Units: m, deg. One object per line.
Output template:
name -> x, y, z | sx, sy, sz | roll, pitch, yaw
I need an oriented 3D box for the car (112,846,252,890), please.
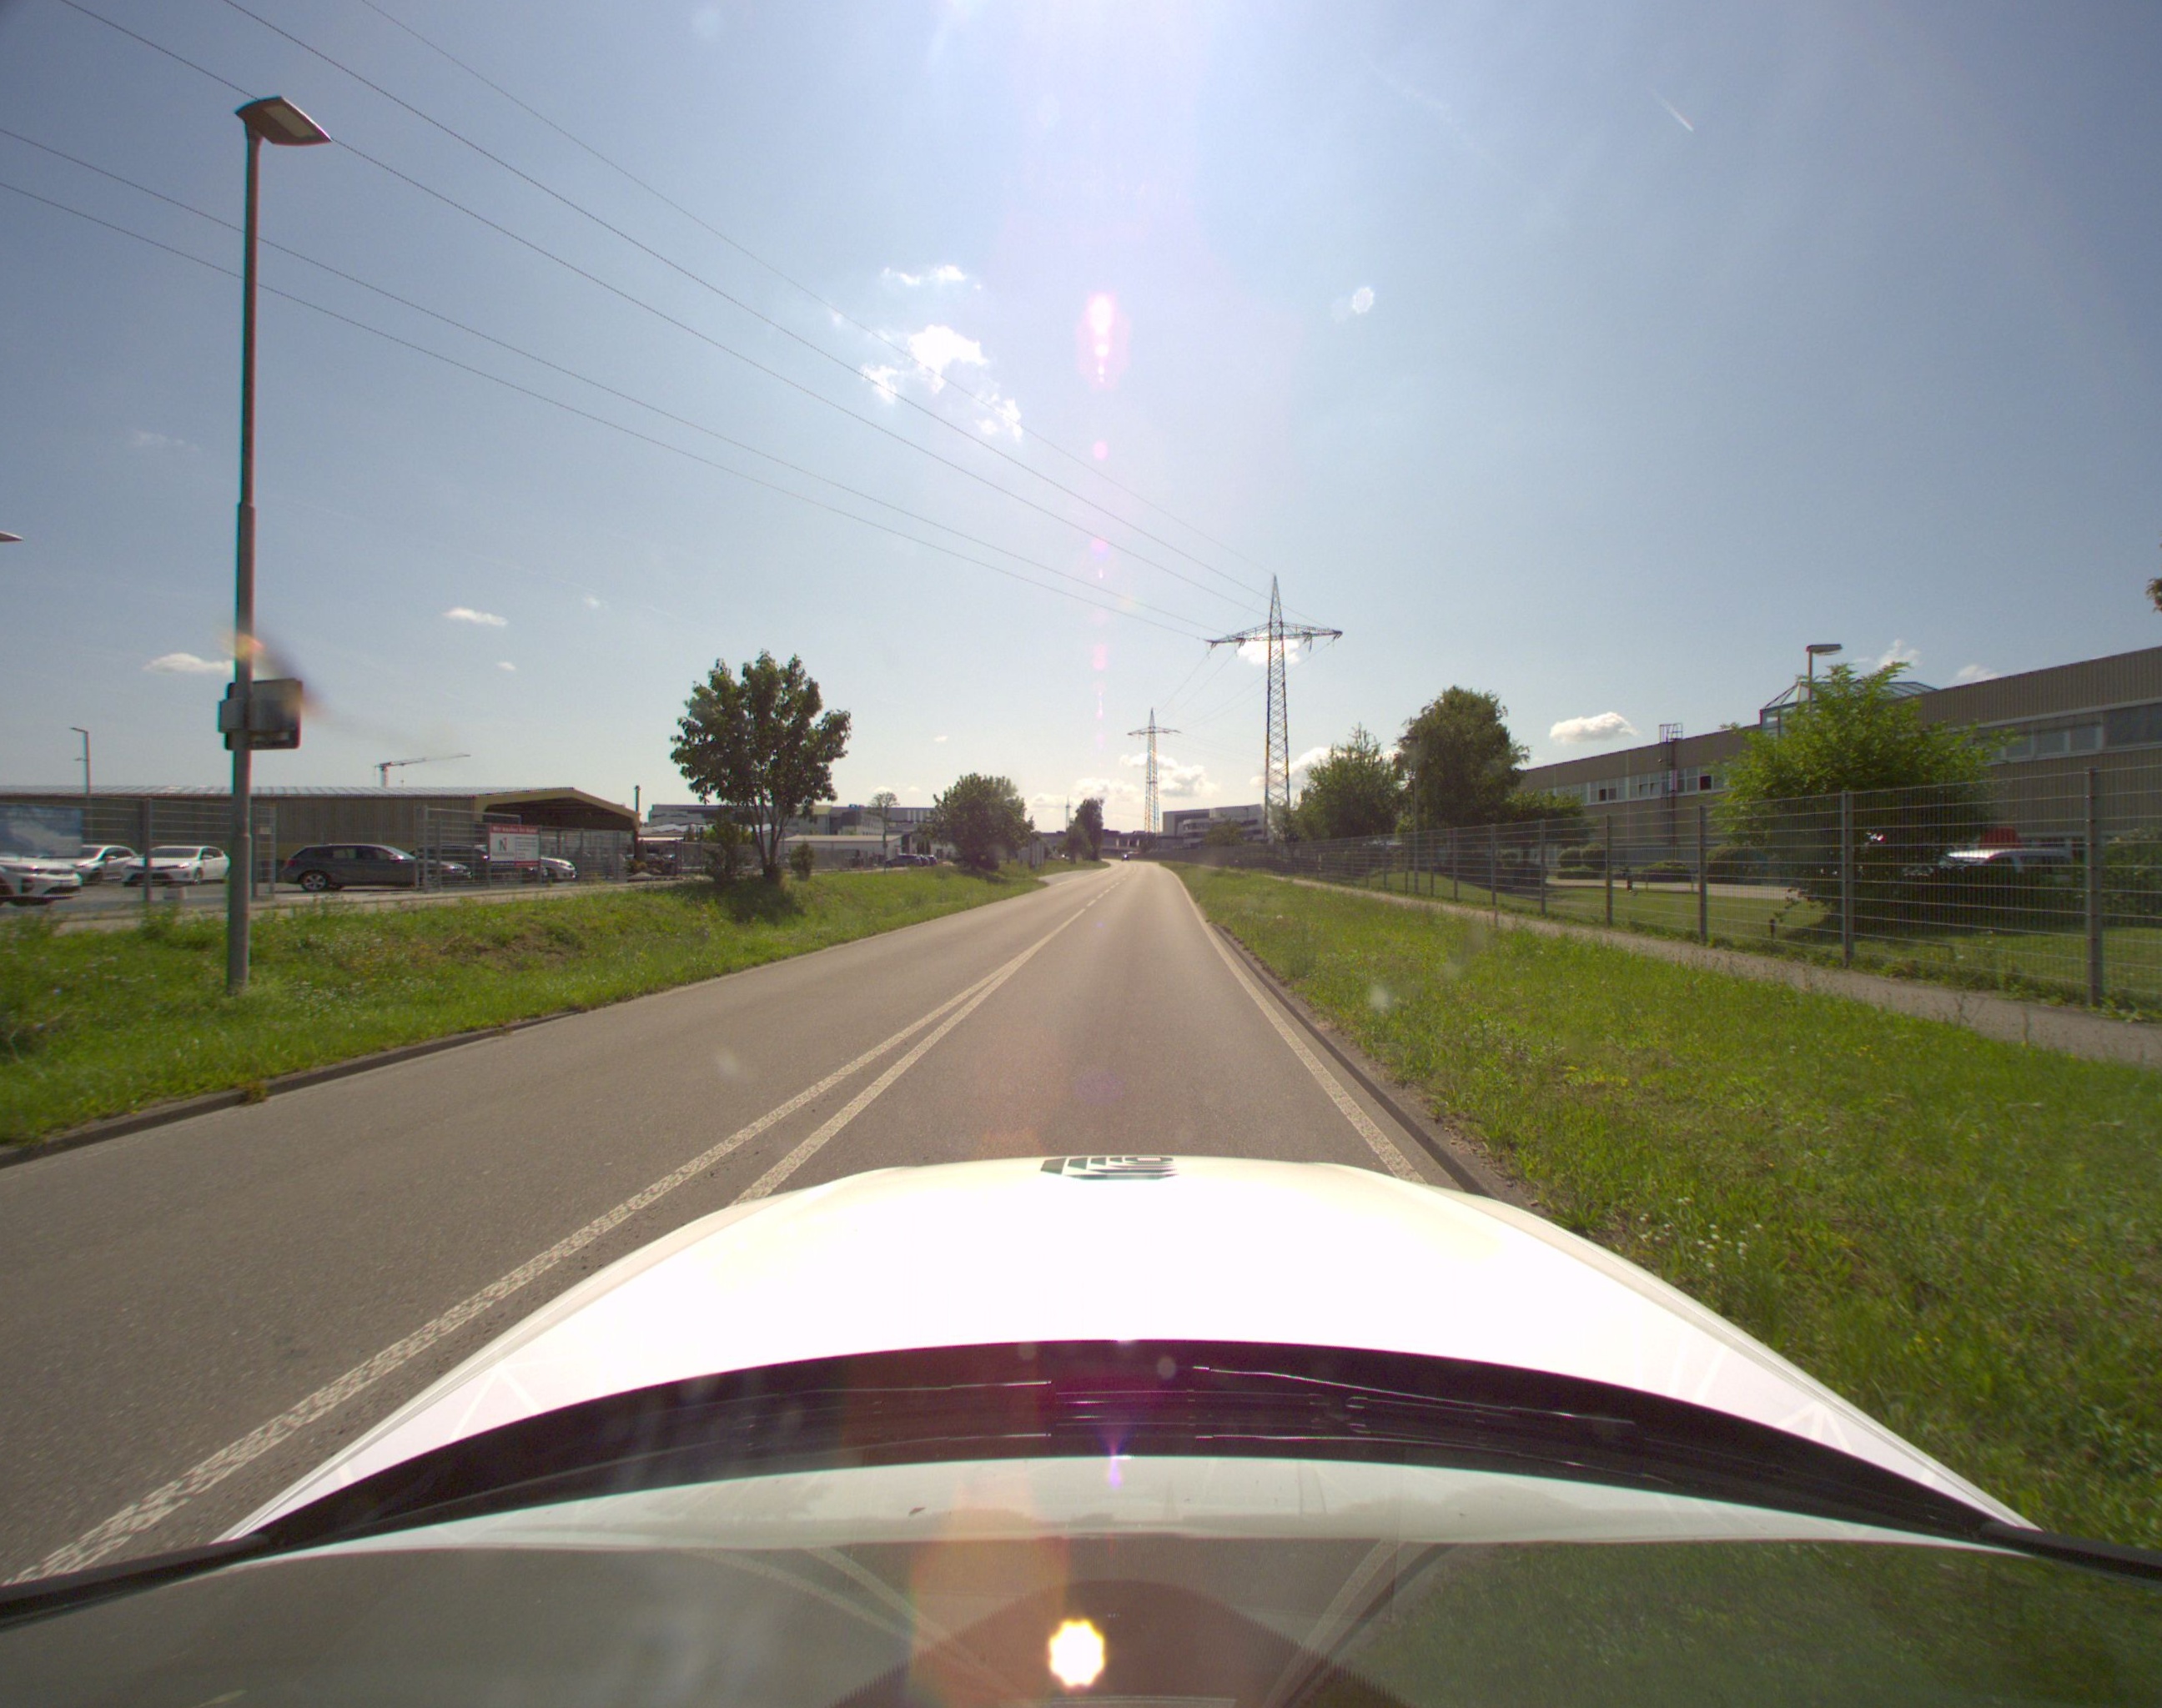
car -> -32.835, 0.481, 29.924 | 2.004, 1.486, 4.211 | 1, 0, -27

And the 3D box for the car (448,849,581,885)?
car -> -21.715, 0.476, 31.431 | 4.010, 1.310, 1.925 | 0, 0, -29

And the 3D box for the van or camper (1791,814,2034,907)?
van or camper -> 26.164, 0.201, 25.759 | 5.756, 2.518, 1.998 | 3, 0, -2

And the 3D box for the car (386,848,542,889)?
car -> -21.233, 0.480, 28.250 | 4.010, 1.310, 1.925 | 0, 0, -29

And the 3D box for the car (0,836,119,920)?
car -> -21.465, 0.425, 15.240 | 4.010, 1.540, 1.925 | 1, 0, -29

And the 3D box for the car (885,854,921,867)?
car -> -21.751, 0.771, 99.471 | 3.975, 1.528, 1.999 | 0, 0, -1

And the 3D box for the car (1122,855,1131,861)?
car -> 10.915, 0.915, 196.531 | 2.004, 1.508, 4.002 | 0, 0, 2

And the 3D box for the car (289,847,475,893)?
car -> -21.417, 0.472, 25.186 | 4.010, 1.310, 1.925 | 1, 0, -29

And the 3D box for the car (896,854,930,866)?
car -> -21.423, 0.765, 103.861 | 3.975, 1.555, 1.665 | 0, 0, -2

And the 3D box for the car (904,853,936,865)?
car -> -21.829, 0.708, 110.361 | 3.975, 1.640, 1.999 | 0, 0, -1
